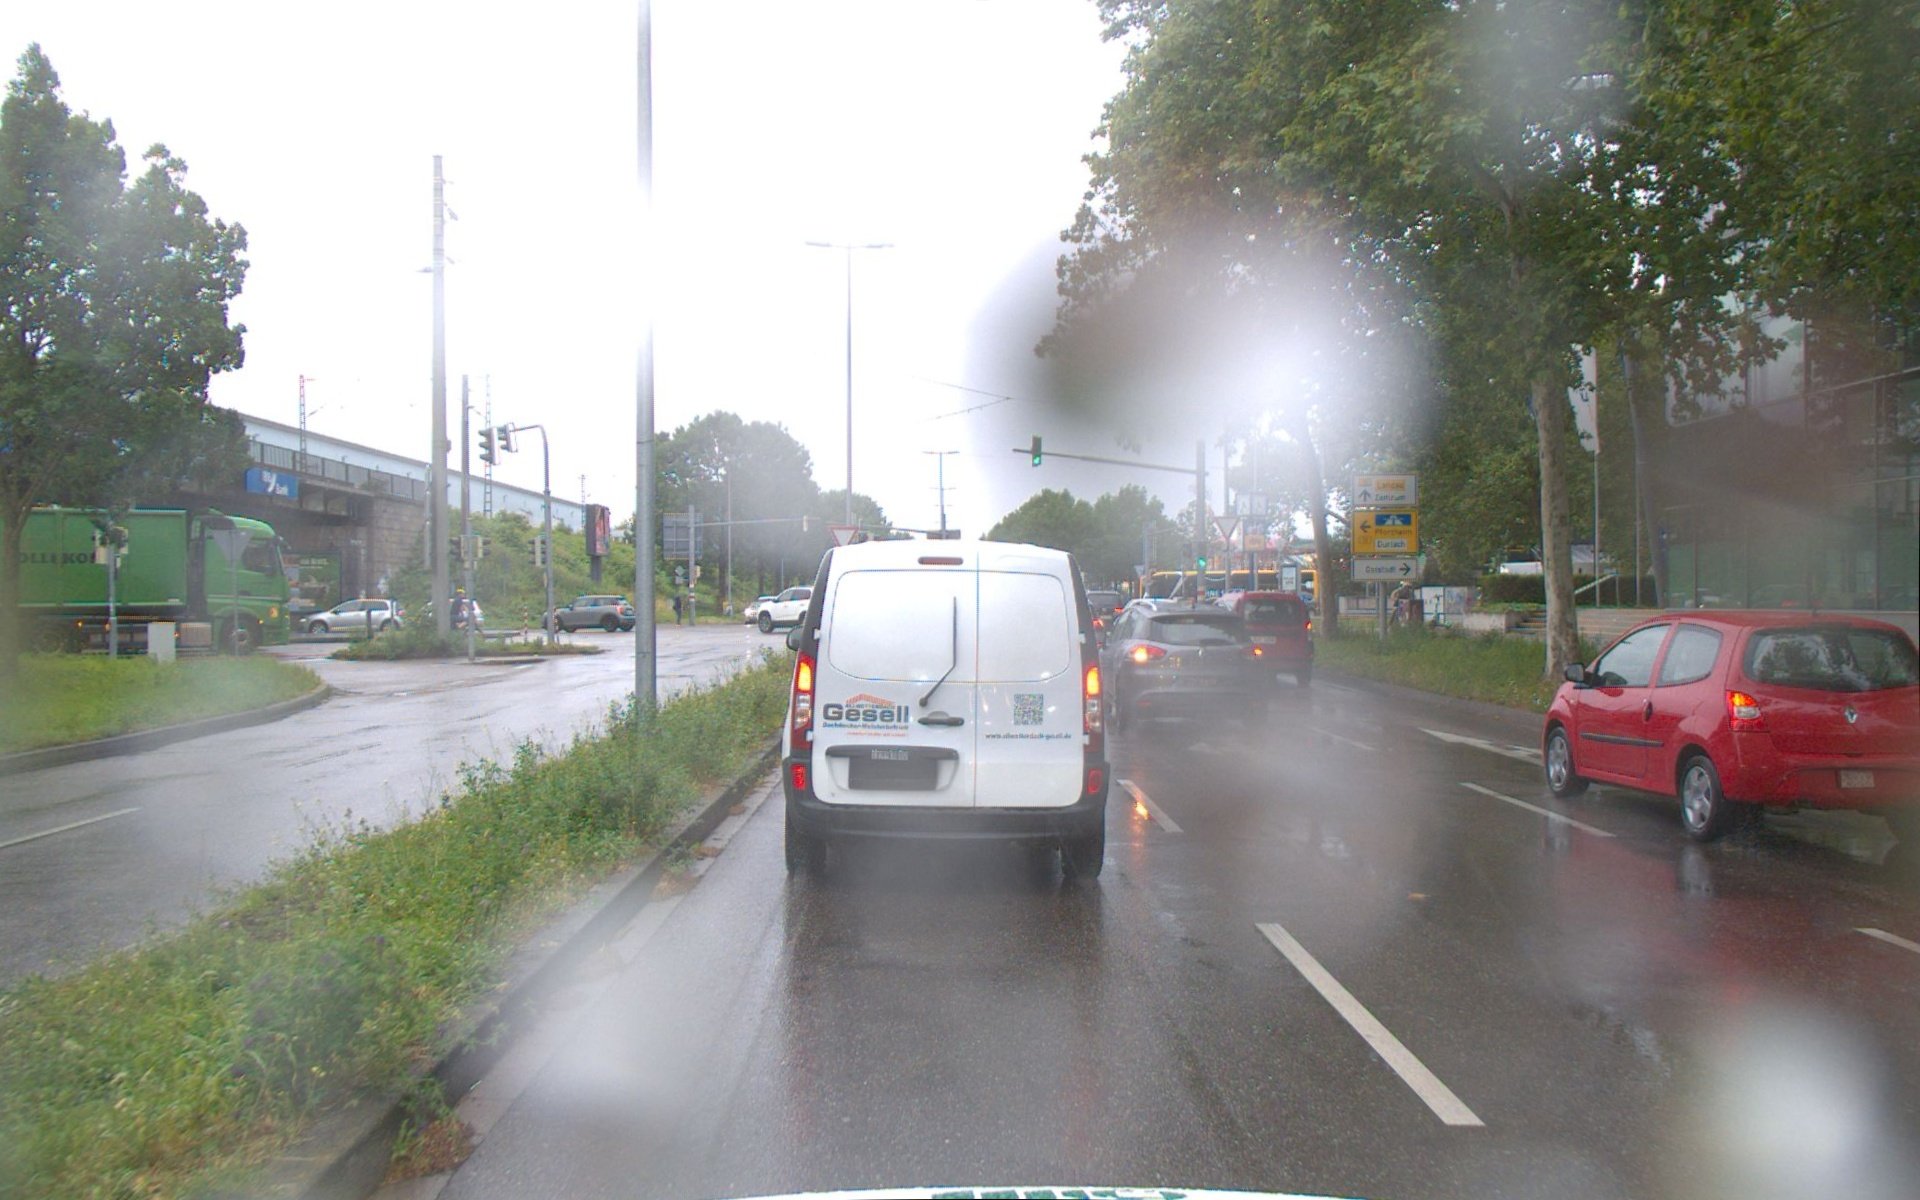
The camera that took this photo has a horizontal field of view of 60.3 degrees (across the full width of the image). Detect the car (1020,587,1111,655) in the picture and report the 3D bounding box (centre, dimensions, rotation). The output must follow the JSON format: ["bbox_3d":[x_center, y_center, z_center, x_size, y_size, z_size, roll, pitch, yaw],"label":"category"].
[{"bbox_3d":[2.377,0.444,38.198,1.816,1.486,3.842,0,0,-1],"label":"car"}]

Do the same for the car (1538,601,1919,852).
[{"bbox_3d":[5.509,0.774,11.740,1.537,1.488,3.388,1,0,-2],"label":"car"}]

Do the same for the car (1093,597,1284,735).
[{"bbox_3d":[2.623,0.713,19.775,1.649,1.433,3.842,1,0,-1],"label":"car"}]

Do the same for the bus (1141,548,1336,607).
[{"bbox_3d":[17.284,-1.413,102.855,11.726,3.483,2.315,-1,1,-1],"label":"bus"}]

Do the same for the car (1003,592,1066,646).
[{"bbox_3d":[2.398,0.576,53.952,1.816,1.678,3.842,0,0,-1],"label":"car"}]

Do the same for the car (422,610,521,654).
[{"bbox_3d":[-21.113,1.378,71.514,3.932,1.747,1.986,-1,-1,-23],"label":"car"}]

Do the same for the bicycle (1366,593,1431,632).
[{"bbox_3d":[13.849,0.388,52.144,0.610,1.207,3.356,0,0,40],"label":"bicycle"}]

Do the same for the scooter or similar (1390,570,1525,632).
[{"bbox_3d":[20.775,0.020,69.243,1.878,2.489,5.240,0,0,-40],"label":"scooter or similar"}]

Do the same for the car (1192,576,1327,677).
[{"bbox_3d":[5.501,0.483,30.895,1.676,1.724,4.271,1,-1,-1],"label":"car"}]

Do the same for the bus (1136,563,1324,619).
[{"bbox_3d":[17.392,-0.604,106.828,11.734,3.483,2.481,-1,1,-4],"label":"bus"}]

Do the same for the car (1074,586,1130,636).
[{"bbox_3d":[5.159,0.366,60.552,1.673,1.758,3.842,0,0,-1],"label":"car"}]

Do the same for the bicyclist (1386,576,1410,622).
[{"bbox_3d":[13.785,-0.032,52.070,0.610,1.443,0.468,0,0,41],"label":"bicyclist"}]

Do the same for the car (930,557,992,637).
[{"bbox_3d":[0.017,-0.107,50.645,1.816,2.336,3.842,0,0,-1],"label":"car"}]

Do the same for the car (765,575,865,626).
[{"bbox_3d":[-5.440,0.002,61.852,1.978,1.847,3.949,-1,1,-36],"label":"car"}]

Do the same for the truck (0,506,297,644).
[{"bbox_3d":[-22.760,-0.631,43.140,9.955,3.430,2.317,0,0,-37],"label":"truck"}]

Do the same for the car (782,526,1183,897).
[{"bbox_3d":[0.090,0.528,10.374,1.953,1.807,4.584,0,0,-1],"label":"car"}]

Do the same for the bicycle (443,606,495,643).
[{"bbox_3d":[-14.022,0.694,47.164,1.027,0.968,2.866,-1,1,-25],"label":"bicycle"}]

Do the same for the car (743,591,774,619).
[{"bbox_3d":[-11.955,0.297,98.030,1.439,1.586,3.507,-1,1,-1],"label":"car"}]

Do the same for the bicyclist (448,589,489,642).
[{"bbox_3d":[-14.039,0.426,47.216,1.028,1.475,0.723,-1,1,-25],"label":"bicyclist"}]

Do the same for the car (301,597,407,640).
[{"bbox_3d":[-23.734,0.719,64.883,3.755,1.570,1.990,-1,-1,-18],"label":"car"}]

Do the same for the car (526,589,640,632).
[{"bbox_3d":[-15.097,0.397,66.340,4.090,1.680,1.800,0,0,4],"label":"car"}]
